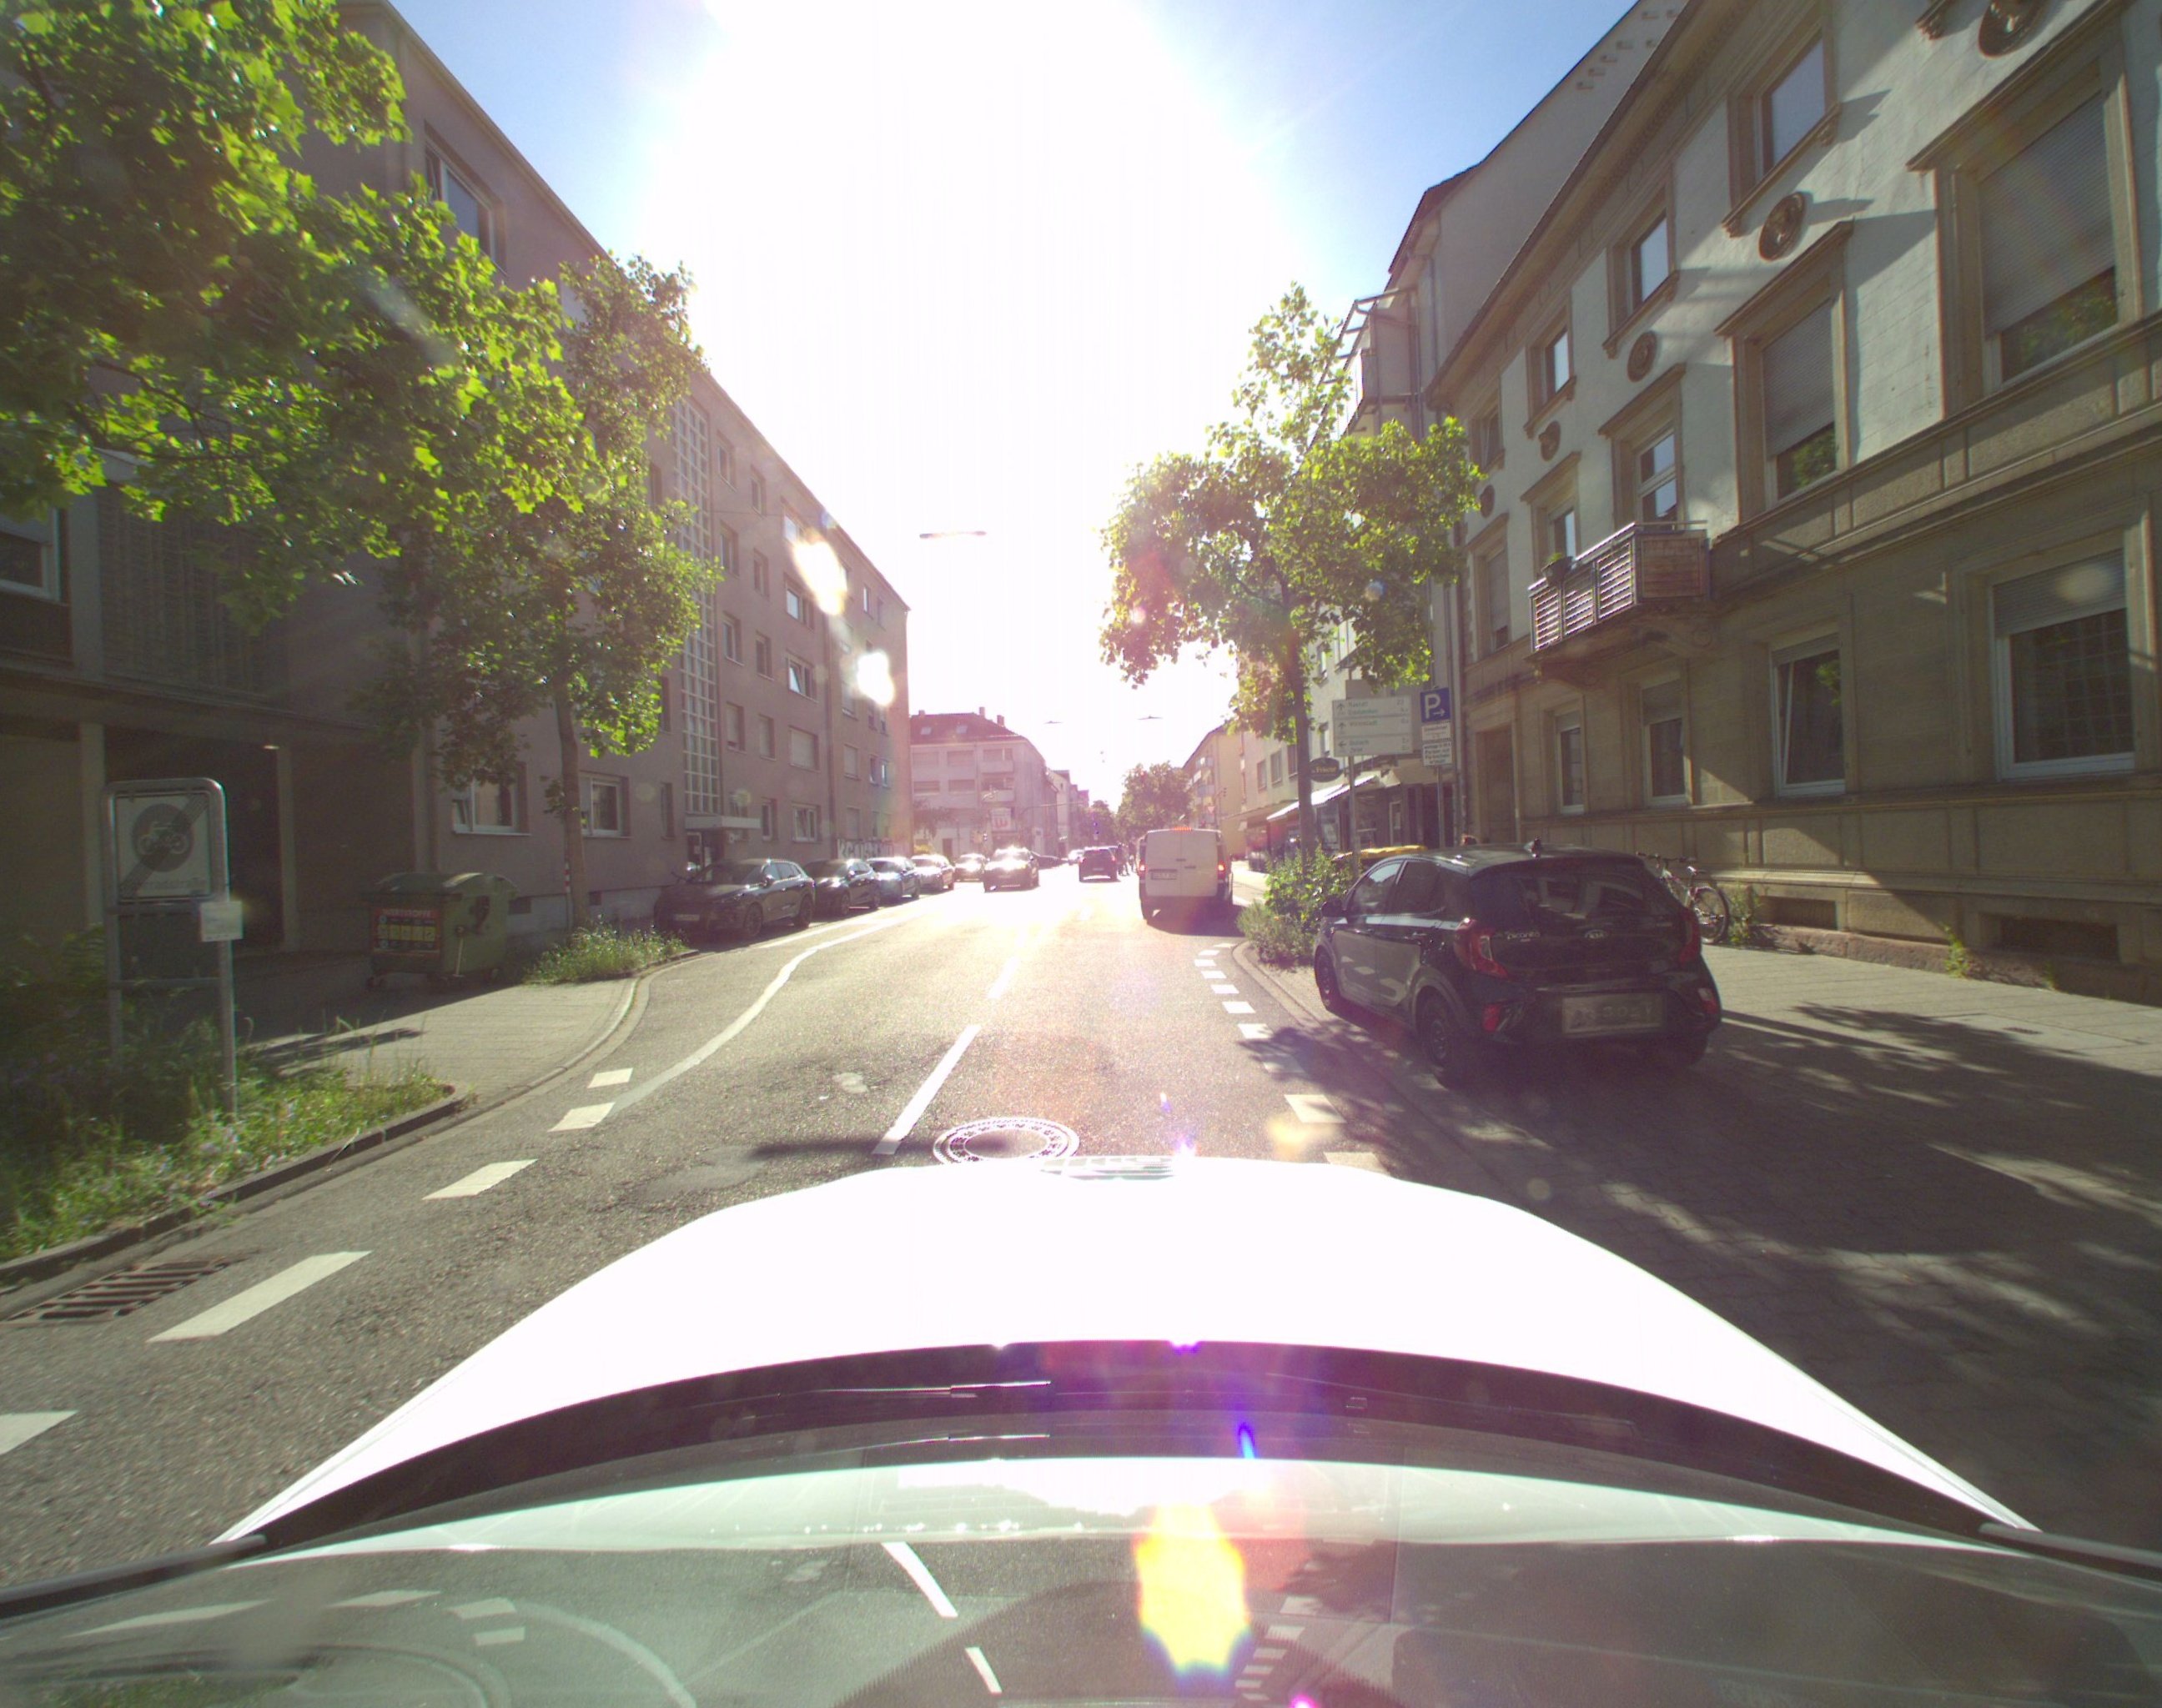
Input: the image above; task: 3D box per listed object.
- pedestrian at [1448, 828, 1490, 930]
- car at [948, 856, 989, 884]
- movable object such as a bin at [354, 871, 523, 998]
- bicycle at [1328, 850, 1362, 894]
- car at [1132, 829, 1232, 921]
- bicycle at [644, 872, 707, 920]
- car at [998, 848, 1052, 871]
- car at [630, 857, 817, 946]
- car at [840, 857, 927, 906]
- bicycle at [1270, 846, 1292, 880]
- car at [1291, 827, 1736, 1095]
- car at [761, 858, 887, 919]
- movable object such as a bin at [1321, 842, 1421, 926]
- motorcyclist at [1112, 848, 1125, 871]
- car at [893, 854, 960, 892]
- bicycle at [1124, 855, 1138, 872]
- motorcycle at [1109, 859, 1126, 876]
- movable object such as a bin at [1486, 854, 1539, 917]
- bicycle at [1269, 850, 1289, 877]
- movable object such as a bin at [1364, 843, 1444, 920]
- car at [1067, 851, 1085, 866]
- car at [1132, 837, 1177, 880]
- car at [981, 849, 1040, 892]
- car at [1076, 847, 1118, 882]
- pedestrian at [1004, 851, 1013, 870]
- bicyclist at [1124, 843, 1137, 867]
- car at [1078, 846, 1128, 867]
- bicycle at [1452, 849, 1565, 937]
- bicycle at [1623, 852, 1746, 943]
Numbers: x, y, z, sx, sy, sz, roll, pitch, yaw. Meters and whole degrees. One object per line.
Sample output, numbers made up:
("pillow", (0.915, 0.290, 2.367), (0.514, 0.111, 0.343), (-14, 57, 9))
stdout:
("pedestrian", (5.749, 0.369, 12.079), (0.366, 1.469, 0.389), (-3, 0, 1))
("car", (-6.143, 0.846, 44.775), (1.647, 1.479, 4.001), (0, 0, 1))
("movable object such as a bin", (-8.014, 0.976, 10.211), (1.223, 1.450, 1.079), (-2, 0, 10))
("bicycle", (7.976, 0.527, 24.652), (0.545, 1.269, 1.885), (0, 0, 4))
("car", (2.476, 0.414, 18.878), (1.972, 1.822, 4.560), (-2, 0, 11))
("bicycle", (-10.364, 1.052, 20.892), (0.552, 1.102, 1.904), (-2, 0, 2))
("car", (-4.249, 0.400, 62.658), (3.976, 1.640, 1.999), (-2, 0, -2))
("car", (-7.365, 0.895, 17.337), (1.869, 1.606, 4.368), (0, 0, 3))
("car", (-6.722, 0.869, 28.230), (1.714, 1.497, 4.628), (1, 0, 2))
("bicycle", (7.829, 0.339, 31.858), (0.473, 1.274, 1.218), (-5, 0, 2))
("car", (2.961, 0.613, 6.493), (1.630, 1.475, 3.580), (-3, 0, 0))
("car", (-7.143, 0.901, 23.154), (1.985, 1.497, 4.233), (1, 0, 4))
("movable object such as a bin", (5.030, 0.503, 14.137), (1.278, 1.347, 1.095), (-2, 0, -40))
("motorcyclist", (2.041, 0.277, 44.186), (0.656, 1.227, 0.694), (-2, 0, 1))
("car", (-6.472, 0.758, 34.566), (1.770, 1.469, 4.761), (1, 0, 2))
("bicycle", (3.035, 0.577, 49.426), (0.772, 0.992, 1.717), (-2, 0, 1))
("motorcycle", (1.976, 0.711, 44.162), (0.804, 0.863, 1.823), (-2, 0, 1))
("movable object such as a bin", (7.407, 0.525, 13.991), (0.596, 1.042, 0.546), (-2, 0, 1))
("bicycle", (8.511, 0.395, 35.089), (0.521, 1.118, 1.535), (-2, 0, 2))
("movable object such as a bin", (6.004, 0.490, 15.136), (1.028, 1.347, 1.116), (-2, 0, 41))
("car", (-0.464, 0.434, 78.385), (1.612, 1.398, 3.733), (-1, 0, 2))
("car", (3.599, 0.186, 40.399), (1.809, 1.921, 4.645), (-2, 0, 1))
("car", (-2.867, 0.625, 34.097), (1.860, 1.614, 4.429), (-2, 0, 2))
("car", (0.752, 0.443, 38.414), (1.838, 1.507, 4.001), (-2, 0, 1))
("pedestrian", (-6.301, 0.577, 70.868), (0.681, 1.663, 0.601), (-2, 0, 1))
("bicyclist", (3.008, 0.065, 49.633), (0.681, 1.448, 0.940), (-2, 0, 1))
("car", (1.764, 0.202, 65.834), (3.973, 1.486, 1.727), (-2, 0, 0))
("bicycle", (6.169, 0.520, 11.890), (0.534, 1.148, 2.125), (-2, 0, 2))
("bicycle", (7.522, 0.508, 10.220), (0.431, 1.030, 1.428), (-5, 0, 2))
